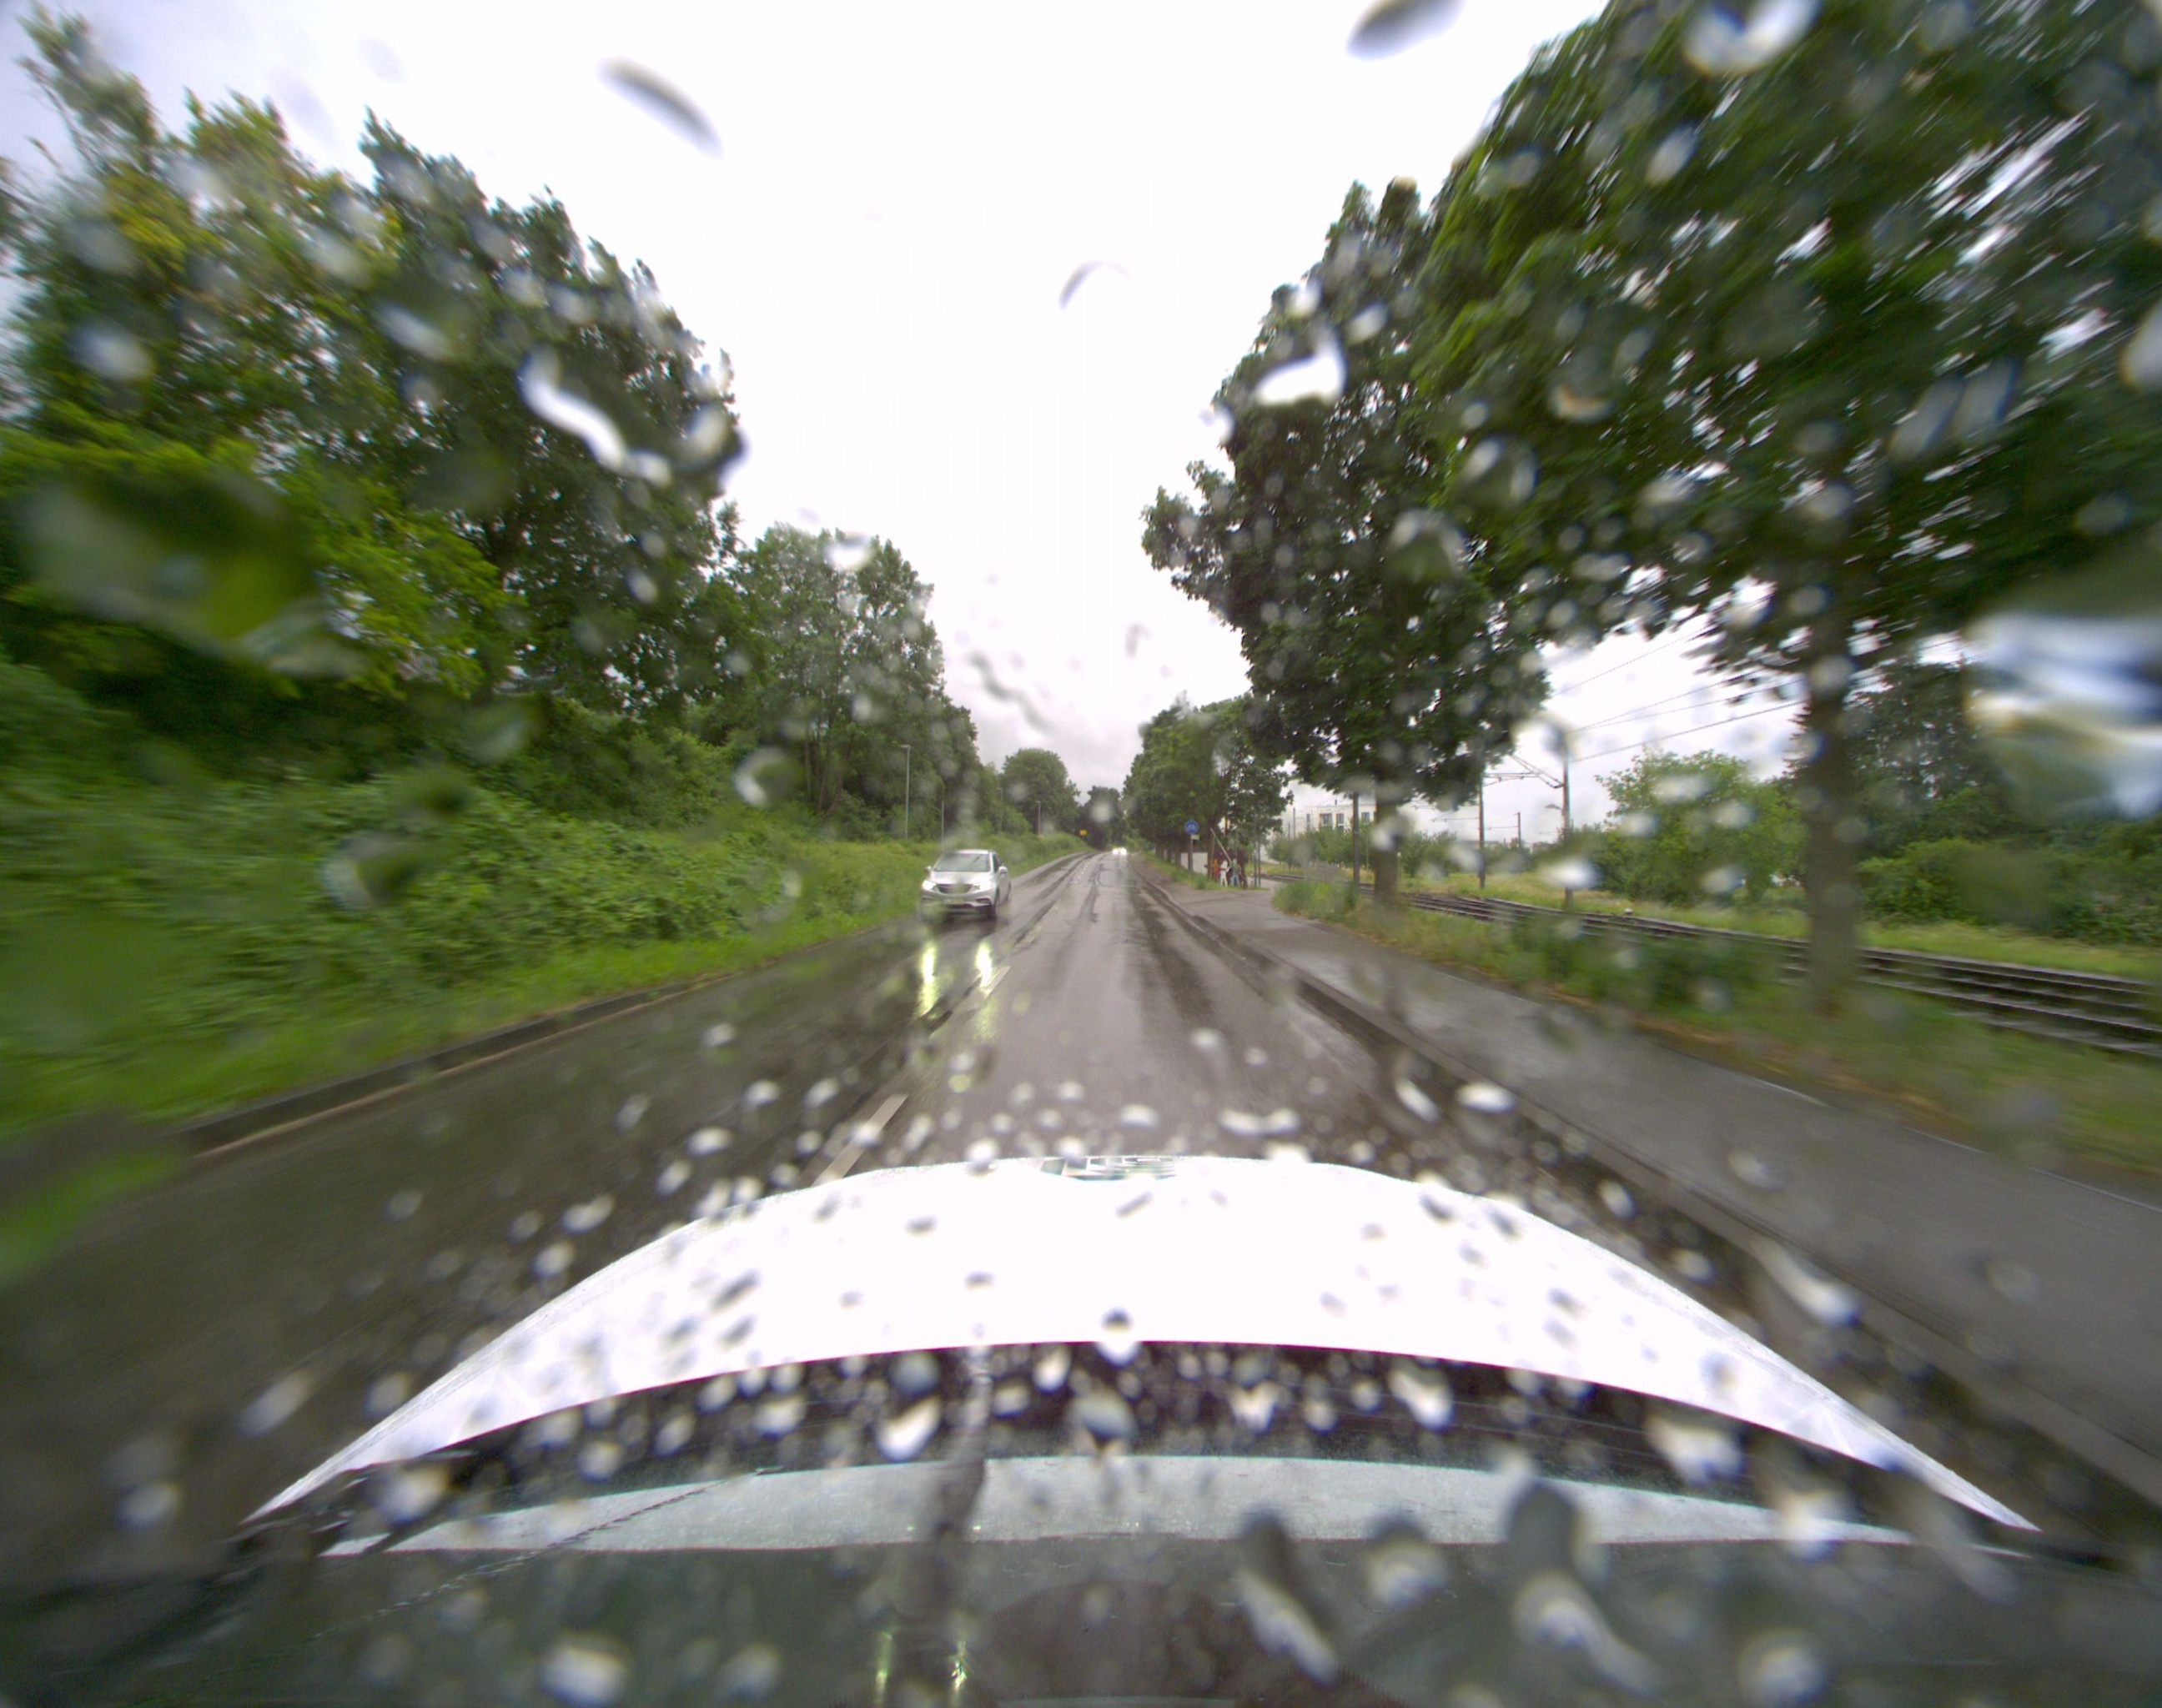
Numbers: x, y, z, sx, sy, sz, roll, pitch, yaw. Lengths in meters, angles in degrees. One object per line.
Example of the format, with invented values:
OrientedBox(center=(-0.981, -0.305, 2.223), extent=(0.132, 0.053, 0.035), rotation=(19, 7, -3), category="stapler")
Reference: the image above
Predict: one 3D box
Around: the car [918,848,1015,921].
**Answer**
OrientedBox(center=(-2.707, 0.661, 20.084), extent=(1.738, 1.612, 4.088), rotation=(0, 1, 1), category="car")
